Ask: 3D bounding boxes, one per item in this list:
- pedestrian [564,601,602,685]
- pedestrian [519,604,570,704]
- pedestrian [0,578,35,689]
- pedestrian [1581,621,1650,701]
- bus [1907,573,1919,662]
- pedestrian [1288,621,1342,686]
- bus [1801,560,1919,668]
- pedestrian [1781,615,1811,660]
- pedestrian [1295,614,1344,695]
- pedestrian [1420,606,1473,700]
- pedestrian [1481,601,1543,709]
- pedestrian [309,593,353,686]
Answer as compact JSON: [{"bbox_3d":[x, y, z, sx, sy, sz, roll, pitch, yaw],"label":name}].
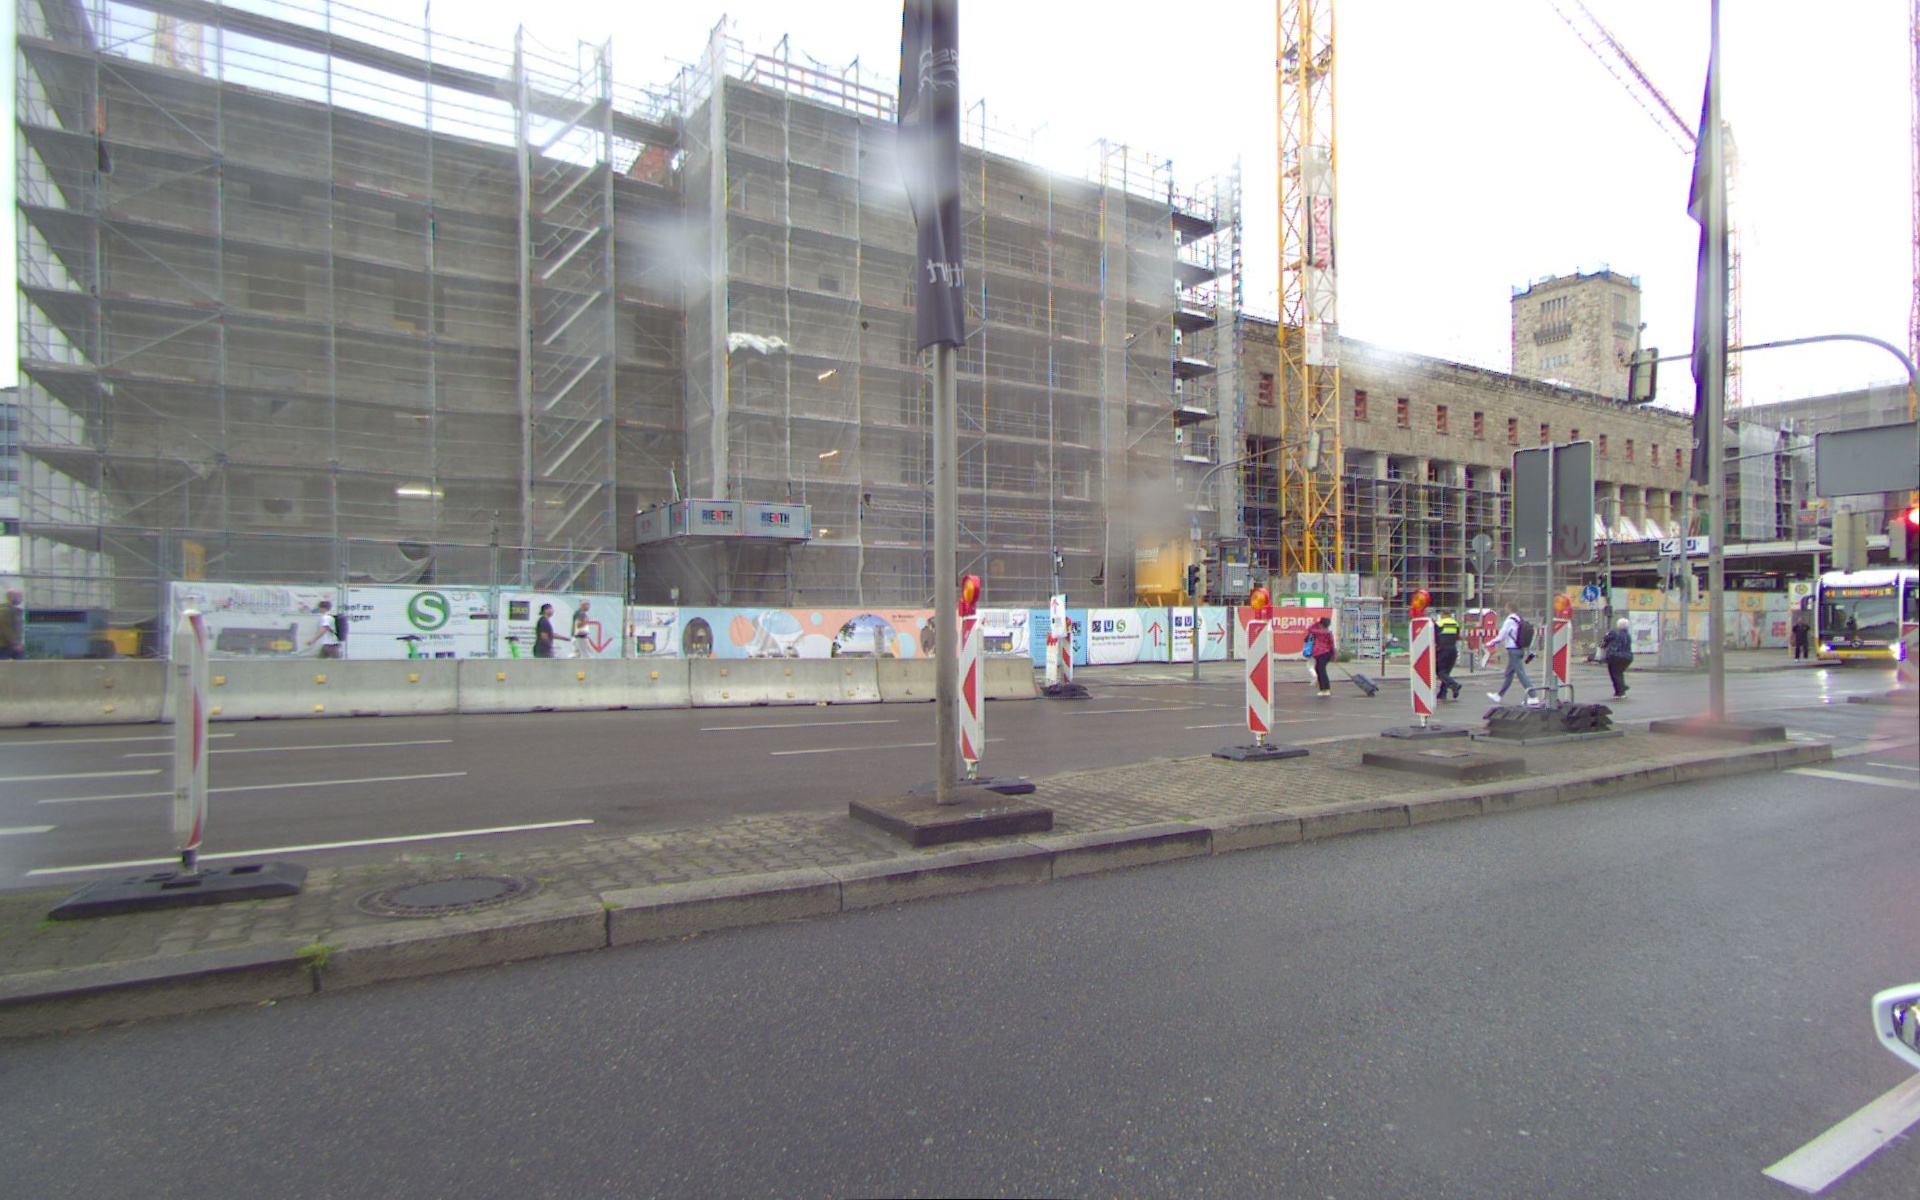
[{"bbox_3d":[-8.549,0.966,22.791,0.709,1.860,0.478,1,0,-30],"label":"pedestrian"},{"bbox_3d":[-7.958,1.030,19.237,0.810,1.860,0.575,1,0,-30],"label":"pedestrian"},{"bbox_3d":[-16.223,0.565,17.004,0.709,1.860,0.478,1,0,-30],"label":"pedestrian"},{"bbox_3d":[13.472,1.232,20.663,0.775,1.581,0.871,1,0,-22],"label":"pedestrian"},{"bbox_3d":[44.044,0.852,42.759,10.092,3.650,2.655,2,0,-30],"label":"bus"},{"bbox_3d":[8.976,1.344,25.418,0.890,1.584,0.909,1,0,-33],"label":"pedestrian"},{"bbox_3d":[35.387,0.597,37.626,10.119,3.650,2.655,2,0,-30],"label":"bus"},{"bbox_3d":[32.193,1.424,38.675,0.637,1.703,0.656,1,0,-30],"label":"pedestrian"},{"bbox_3d":[7.840,1.184,21.925,0.613,1.740,0.794,1,-2,-33],"label":"pedestrian"},{"bbox_3d":[9.851,1.061,20.336,0.810,1.860,0.575,1,0,-30],"label":"pedestrian"},{"bbox_3d":[10.163,0.989,18.508,0.614,1.915,0.793,1,0,-38],"label":"pedestrian"},{"bbox_3d":[-12.947,0.807,20.674,0.709,1.860,0.478,1,0,-30],"label":"pedestrian"}]
